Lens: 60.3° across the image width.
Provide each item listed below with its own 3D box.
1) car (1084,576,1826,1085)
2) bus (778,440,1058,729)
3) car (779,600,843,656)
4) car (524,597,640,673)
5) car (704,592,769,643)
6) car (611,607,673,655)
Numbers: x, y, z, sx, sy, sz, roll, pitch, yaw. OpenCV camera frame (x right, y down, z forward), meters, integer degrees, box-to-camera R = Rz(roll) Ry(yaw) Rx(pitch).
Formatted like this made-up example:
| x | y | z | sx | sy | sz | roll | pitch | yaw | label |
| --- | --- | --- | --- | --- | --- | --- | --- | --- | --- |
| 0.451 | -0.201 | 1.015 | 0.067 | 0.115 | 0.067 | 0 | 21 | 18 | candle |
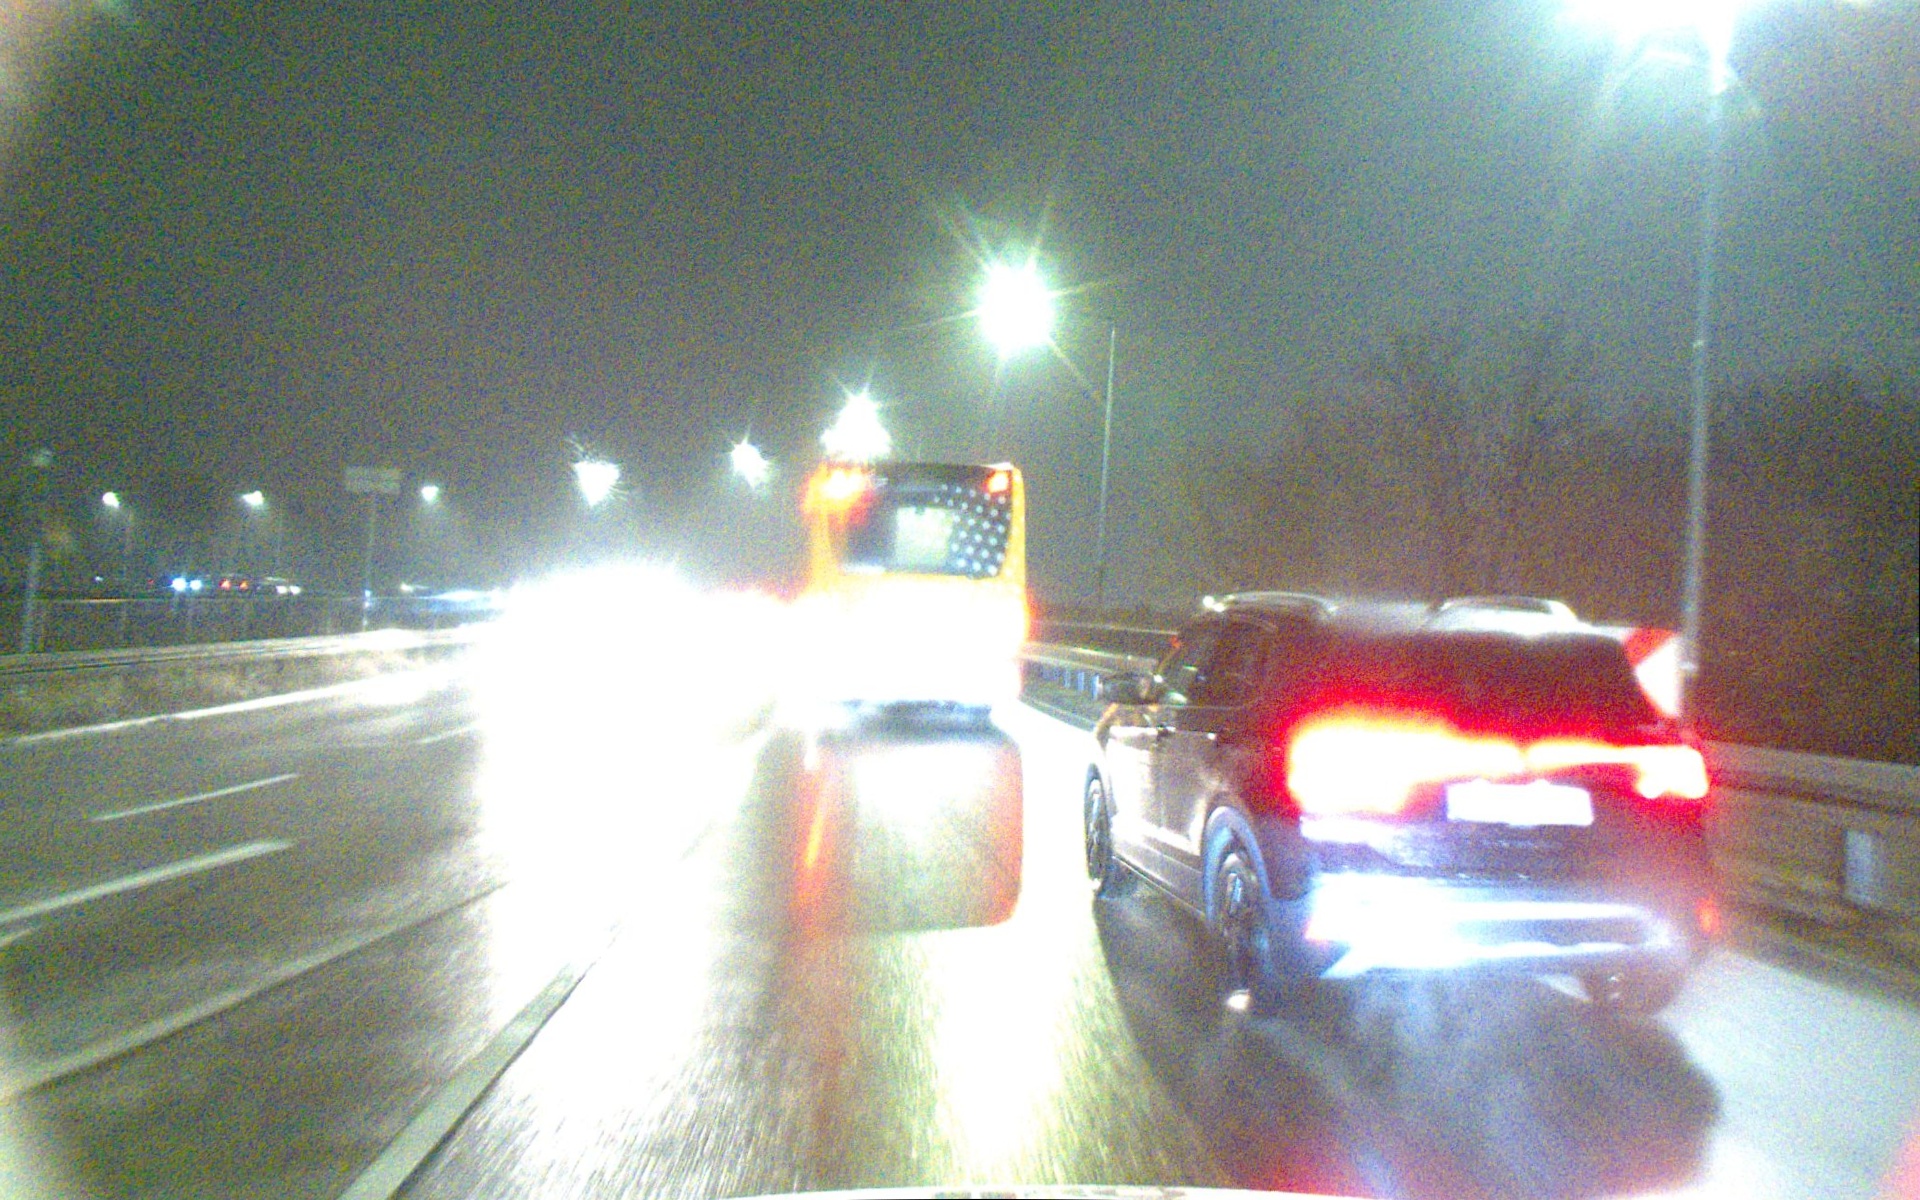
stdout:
| x | y | z | sx | sy | sz | roll | pitch | yaw | label |
| --- | --- | --- | --- | --- | --- | --- | --- | --- | --- |
| 1.765 | 0.745 | 7.329 | 1.819 | 1.614 | 3.996 | 0 | 0 | -5 | car |
| -1.148 | -0.215 | 24.837 | 3.024 | 3.187 | 12.678 | 1 | 0 | -7 | bus |
| -4.748 | 0.871 | 52.371 | 1.607 | 1.684 | 3.699 | 1 | 0 | -12 | car |
| -8.153 | 0.715 | 35.961 | 1.731 | 1.544 | 3.947 | 1 | 0 | -2 | car |
| -9.316 | 0.714 | 68.765 | 1.963 | 2.049 | 3.979 | 1 | 0 | -18 | car |
| -10.239 | 0.972 | 53.481 | 1.733 | 1.452 | 4.211 | 0 | 0 | -8 | car |
